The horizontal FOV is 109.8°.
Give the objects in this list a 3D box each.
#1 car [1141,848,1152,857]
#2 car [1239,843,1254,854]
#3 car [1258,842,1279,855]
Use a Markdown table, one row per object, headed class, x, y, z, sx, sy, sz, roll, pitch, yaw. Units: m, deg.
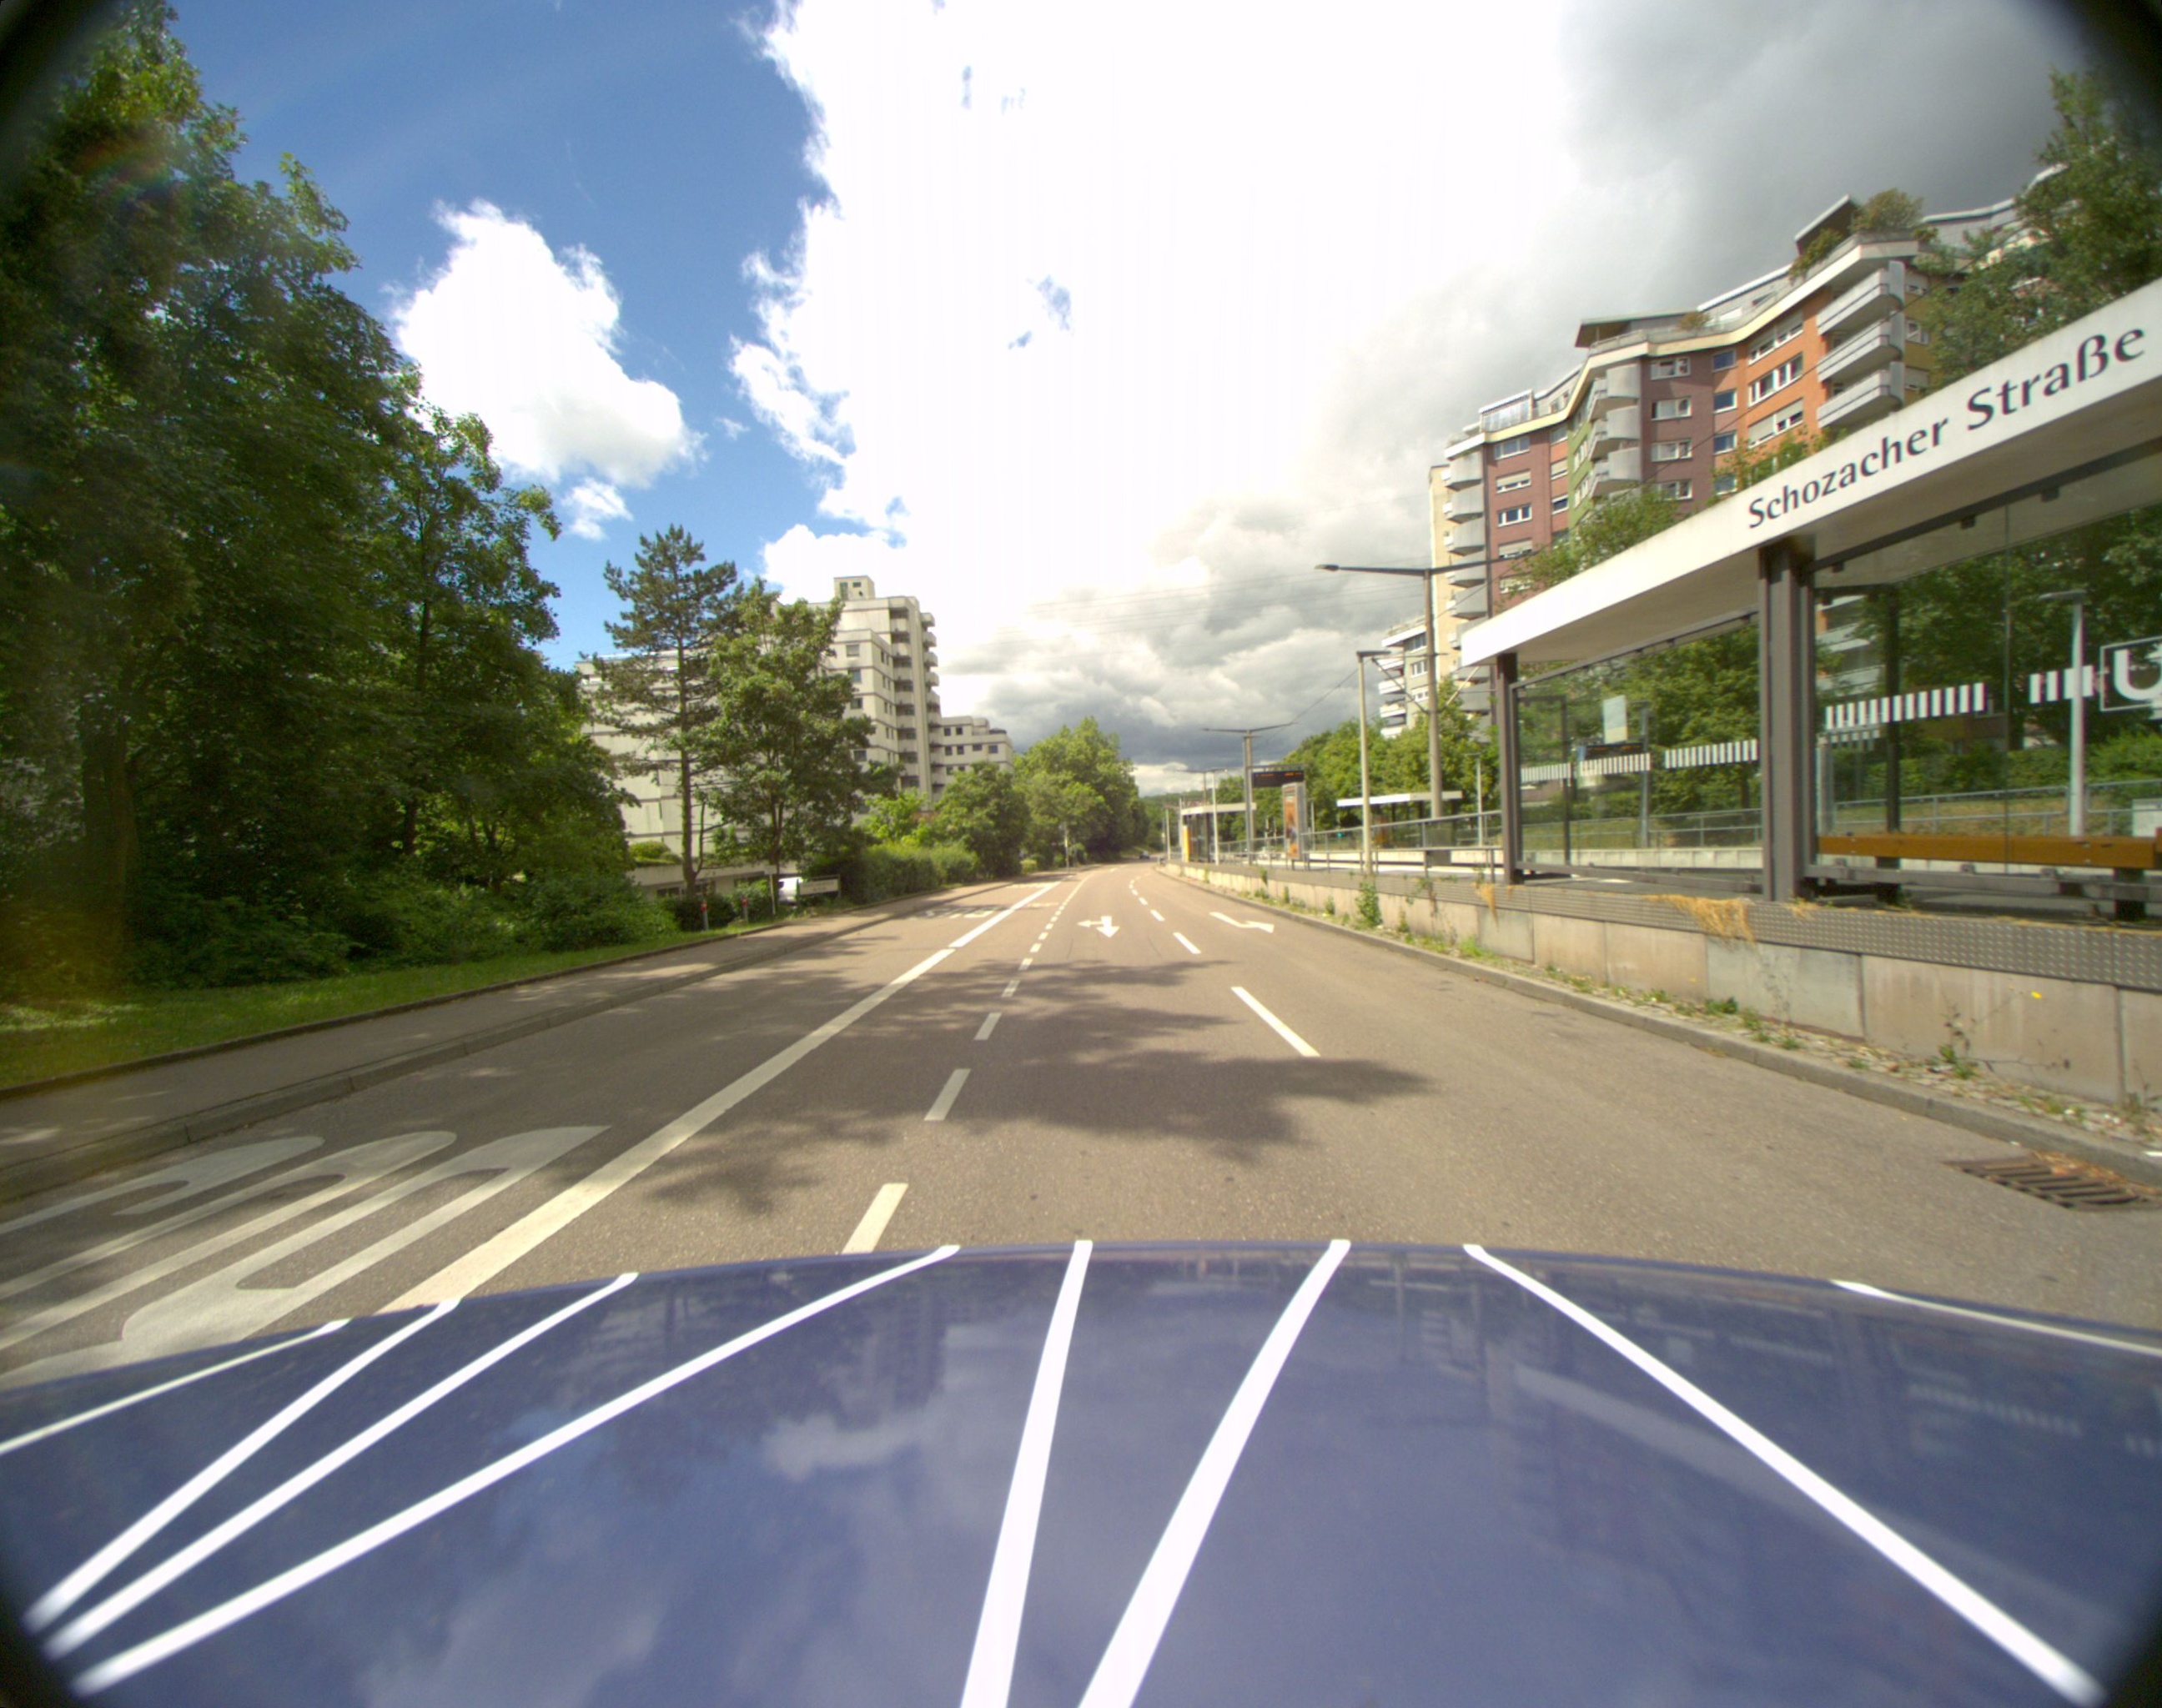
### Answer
| class | x | y | z | sx | sy | sz | roll | pitch | yaw |
| --- | --- | --- | --- | --- | --- | --- | --- | --- | --- |
| car | 11.051 | -0.237 | 128.246 | 1.736 | 1.477 | 3.817 | -2 | 1 | 5 |
| car | 23.807 | -0.825 | 109.335 | 1.658 | 1.503 | 3.738 | -2 | 0 | 5 |
| car | 22.881 | -0.662 | 92.695 | 1.658 | 1.410 | 4.000 | -2 | 0 | 1 |
